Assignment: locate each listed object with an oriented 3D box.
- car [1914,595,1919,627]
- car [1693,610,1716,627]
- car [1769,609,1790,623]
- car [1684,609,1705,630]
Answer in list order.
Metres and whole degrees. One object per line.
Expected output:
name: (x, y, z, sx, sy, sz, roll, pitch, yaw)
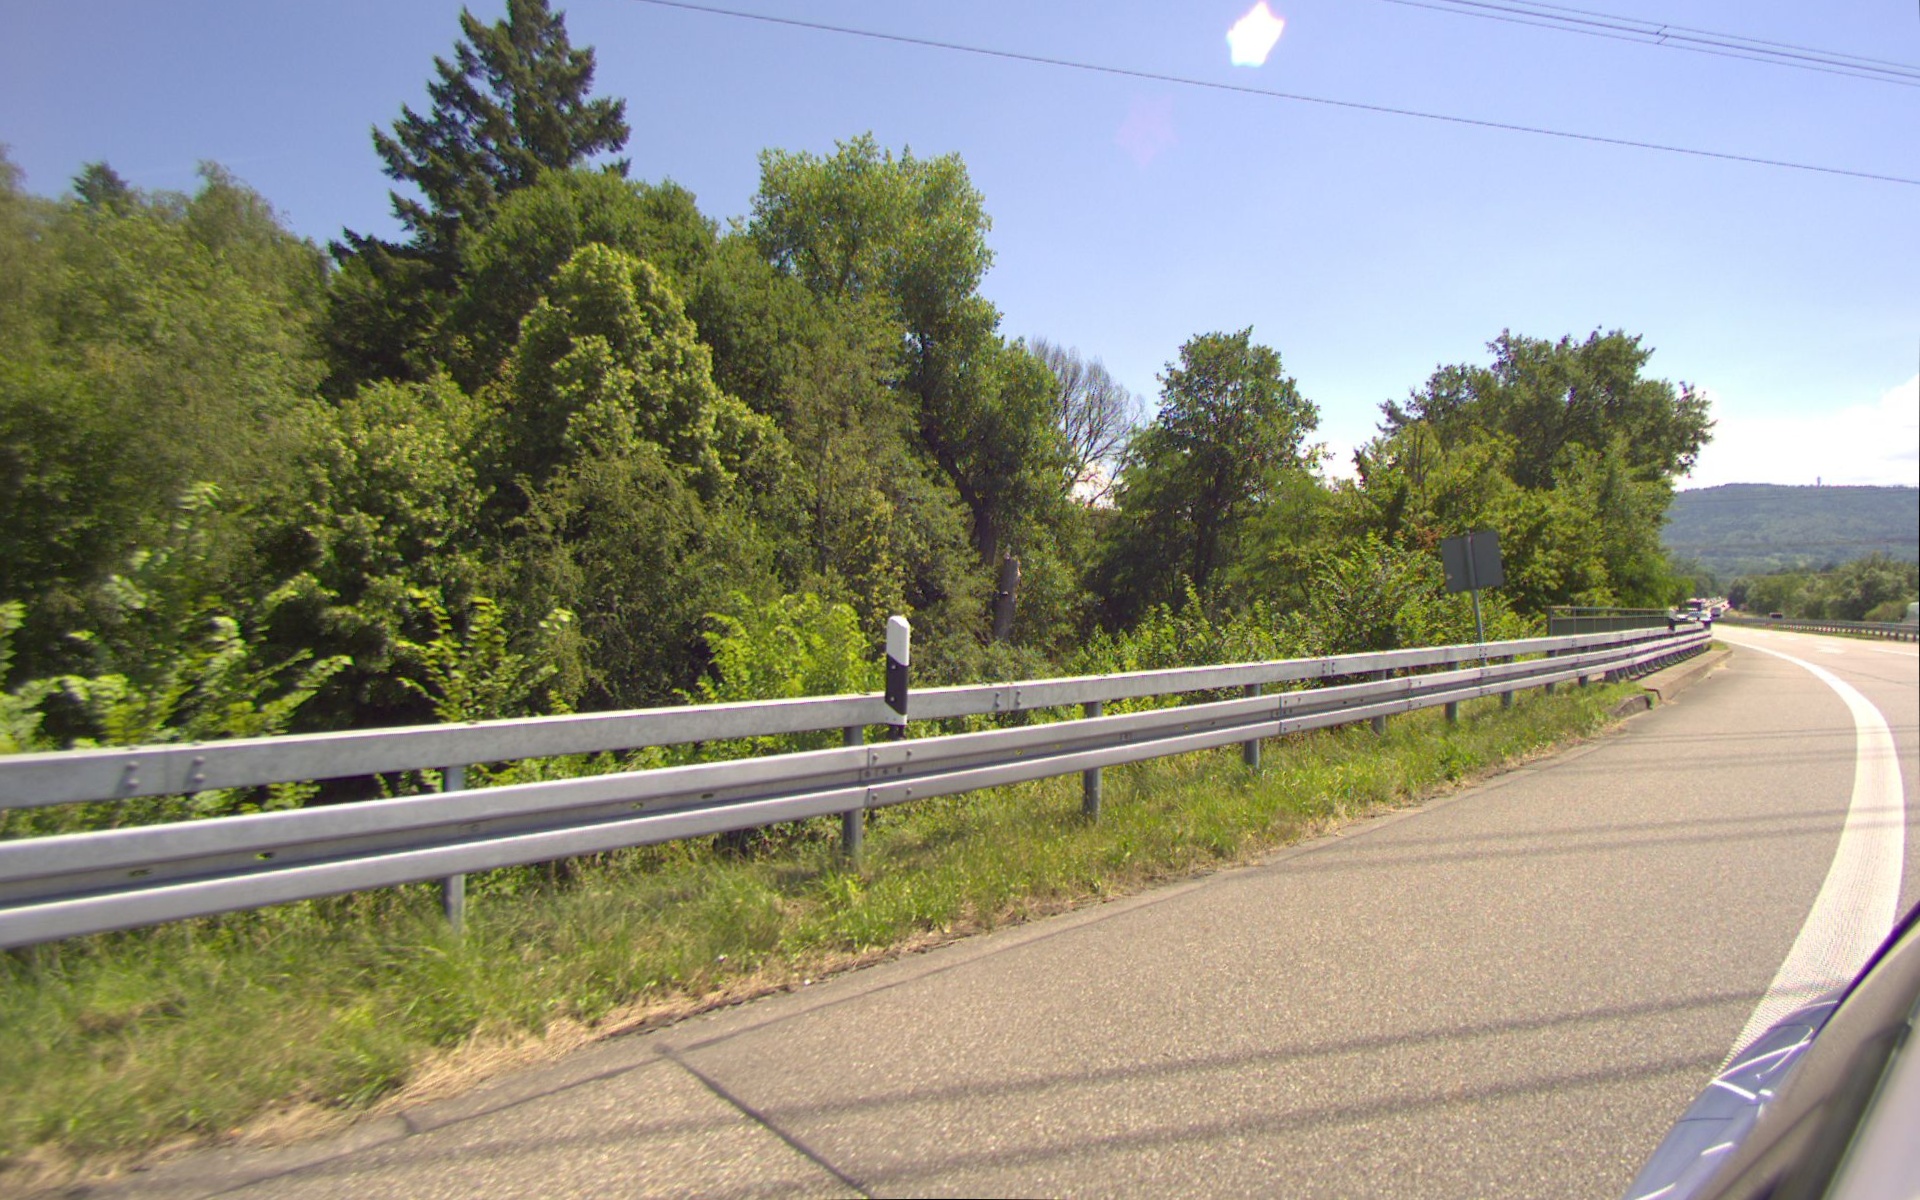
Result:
car: (79.148, 0.913, 81.424, 2.518, 2.651, 7.091, 3, 1, 36)
car: (66.743, 1.631, 90.698, 1.570, 1.412, 3.437, 1, 0, 38)
car: (129.590, 2.532, 160.067, 1.882, 2.017, 5.470, 1, 0, 31)
car: (75.506, 1.956, 103.976, 1.612, 2.124, 3.437, 1, 0, 38)
